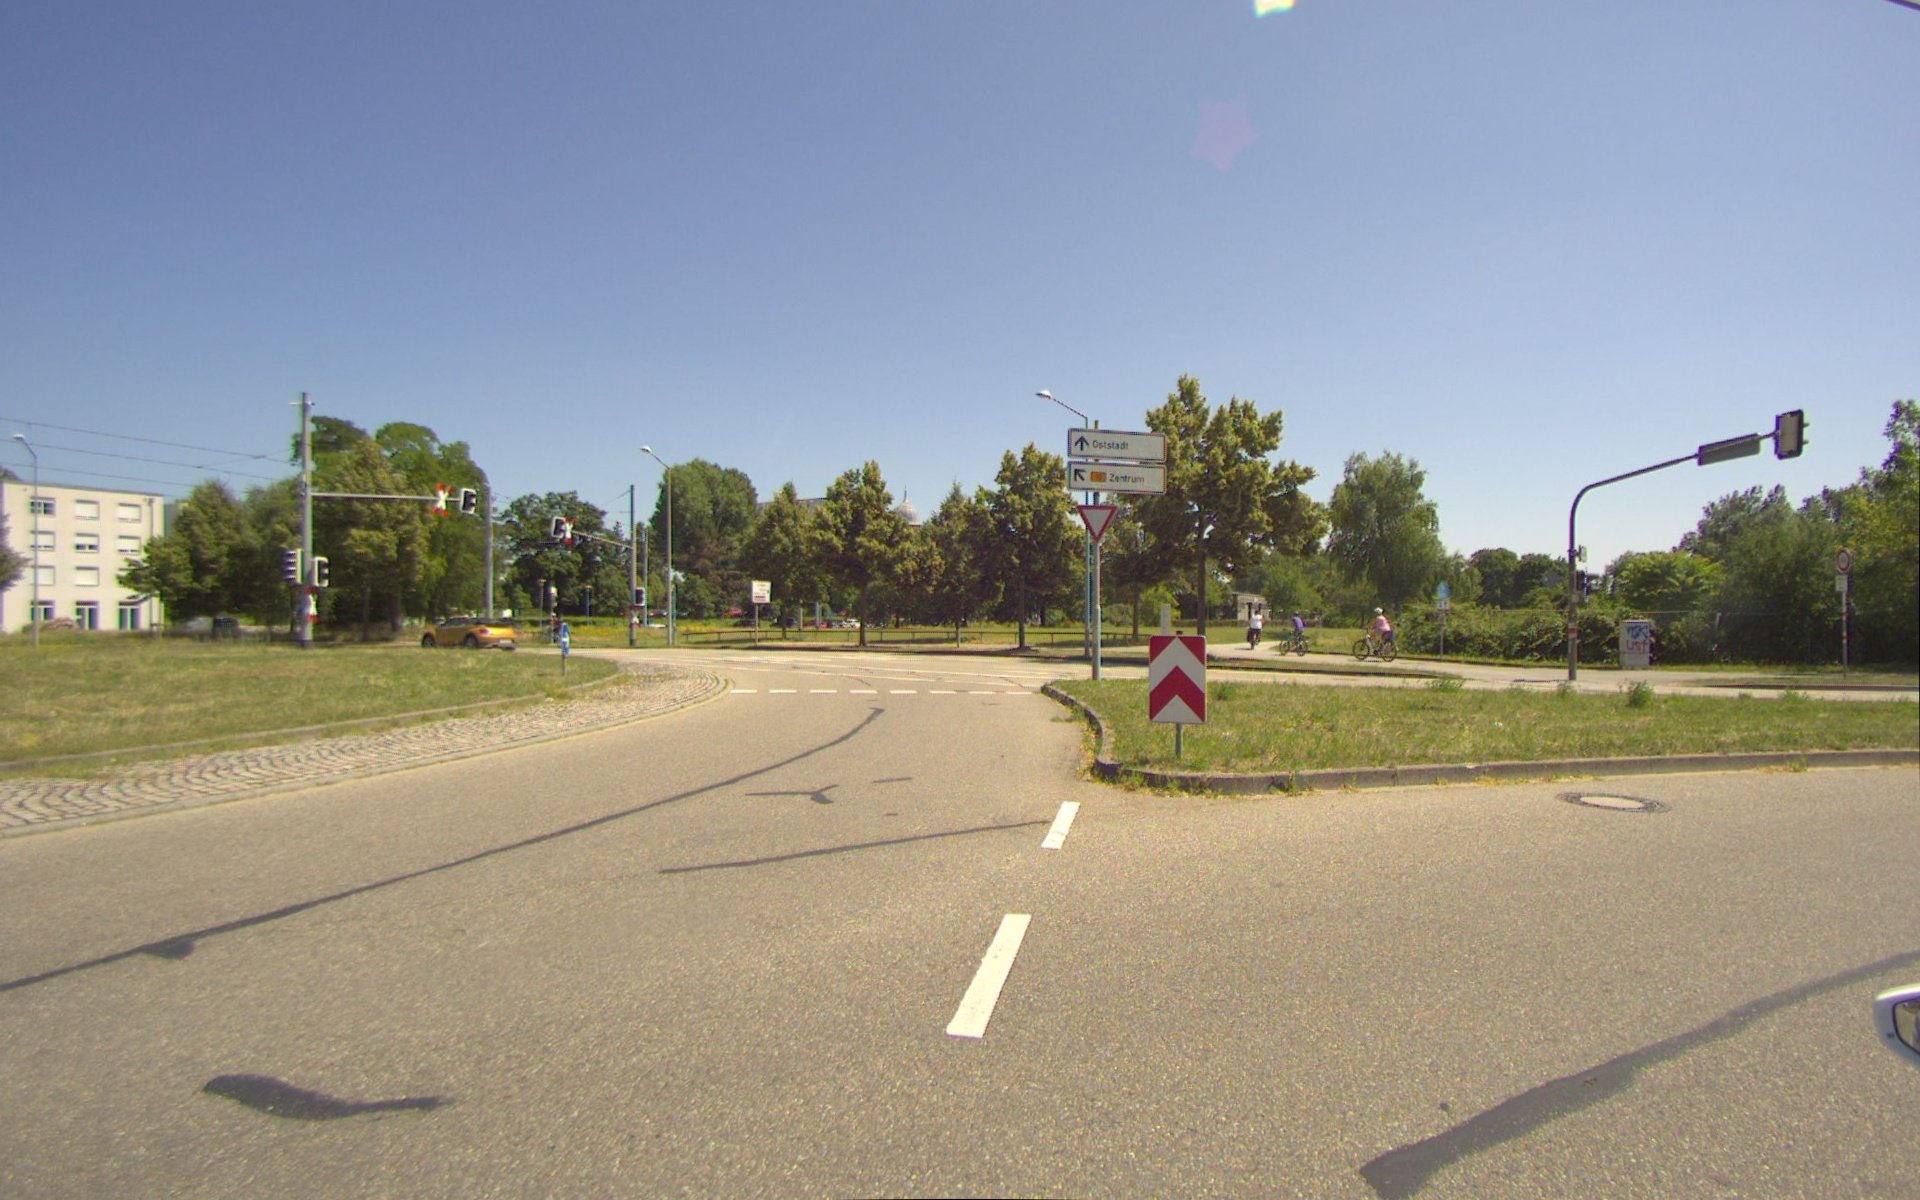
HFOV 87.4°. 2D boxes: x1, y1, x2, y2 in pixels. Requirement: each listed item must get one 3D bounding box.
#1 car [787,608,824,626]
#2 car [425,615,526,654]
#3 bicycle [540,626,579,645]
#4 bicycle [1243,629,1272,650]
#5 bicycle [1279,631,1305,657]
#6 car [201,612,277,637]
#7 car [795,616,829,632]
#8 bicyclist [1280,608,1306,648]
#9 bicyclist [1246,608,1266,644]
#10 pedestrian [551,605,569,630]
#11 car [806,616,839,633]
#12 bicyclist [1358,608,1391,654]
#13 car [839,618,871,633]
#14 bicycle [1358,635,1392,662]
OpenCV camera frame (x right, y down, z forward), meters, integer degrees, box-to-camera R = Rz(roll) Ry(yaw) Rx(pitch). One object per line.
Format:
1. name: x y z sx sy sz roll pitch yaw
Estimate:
1. car: -17.763 1.976 115.846 3.921 2.040 2.000 1 -2 -1
2. car: -18.624 1.319 38.610 3.597 1.421 1.828 0 -2 31
3. bicycle: -23.875 2.106 59.908 2.019 1.129 0.729 1 -2 -6
4. bicycle: 13.465 1.785 45.508 0.726 0.924 2.931 1 -2 5
5. bicycle: 13.302 1.747 40.241 0.881 0.912 1.762 1 1 21
6. car: -50.816 1.737 70.843 1.969 1.706 3.985 -1 -3 37
7. car: -18.676 3.046 126.815 3.921 2.040 2.000 1 -2 -1
8. bicyclist: 13.335 1.101 40.235 0.941 1.552 1.185 0 0 21
9. bicyclist: 13.478 1.185 45.727 0.741 1.635 0.979 0 -2 8
10. pedestrian: -23.849 1.050 59.941 0.803 1.469 0.709 1 -2 -6
11. car: -17.648 3.159 129.215 3.921 2.040 2.000 1 -2 -1
12. bicyclist: 15.120 1.132 36.665 0.940 1.631 1.186 0 -2 16
13. car: -14.012 3.402 134.062 3.919 2.040 2.002 0 -2 6
14. bicycle: 15.161 1.750 36.730 0.880 0.912 2.227 1 -1 16
